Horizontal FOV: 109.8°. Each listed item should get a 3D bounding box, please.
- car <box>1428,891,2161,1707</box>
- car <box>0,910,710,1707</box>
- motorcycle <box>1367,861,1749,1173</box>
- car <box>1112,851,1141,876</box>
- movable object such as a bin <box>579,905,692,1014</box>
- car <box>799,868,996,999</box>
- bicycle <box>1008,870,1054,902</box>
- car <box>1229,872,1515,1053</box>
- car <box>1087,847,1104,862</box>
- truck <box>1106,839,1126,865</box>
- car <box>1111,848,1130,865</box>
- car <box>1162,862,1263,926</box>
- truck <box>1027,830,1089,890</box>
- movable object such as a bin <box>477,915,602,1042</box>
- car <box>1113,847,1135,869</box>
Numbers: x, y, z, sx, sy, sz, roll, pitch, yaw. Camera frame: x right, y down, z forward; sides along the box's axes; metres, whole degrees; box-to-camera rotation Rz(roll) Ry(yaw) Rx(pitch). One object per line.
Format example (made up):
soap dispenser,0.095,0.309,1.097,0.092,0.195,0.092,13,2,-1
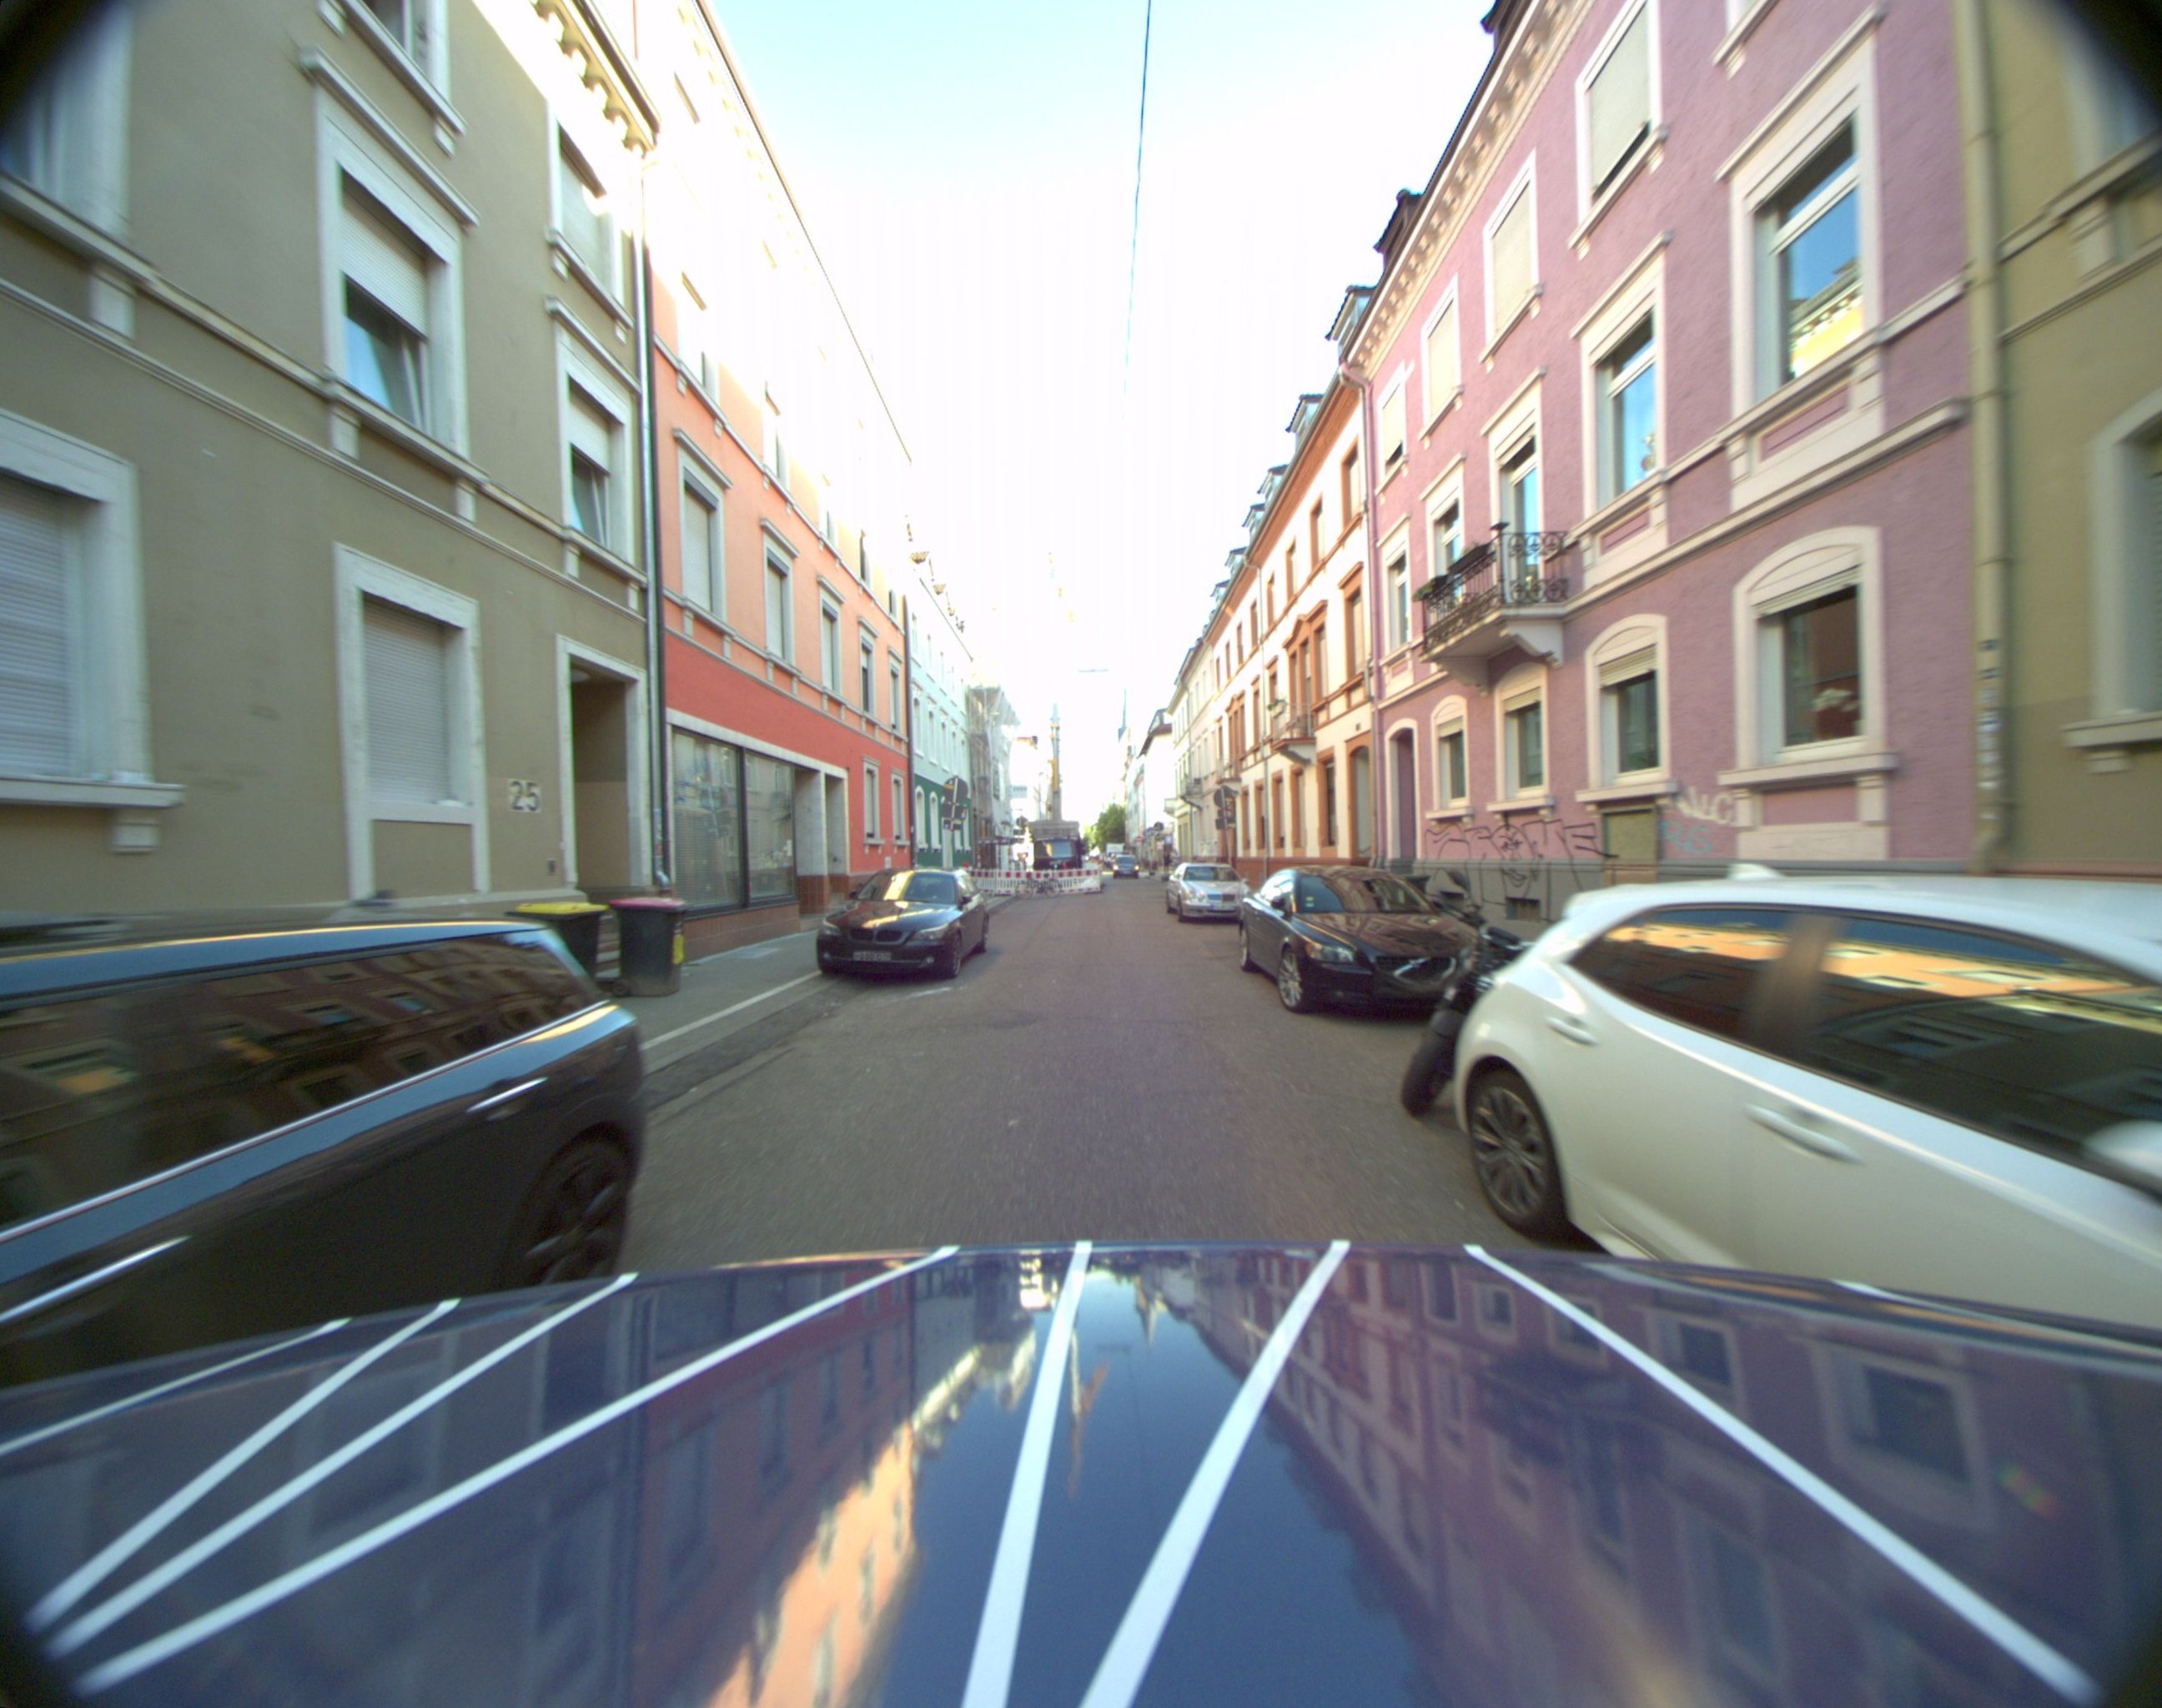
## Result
car,2.543,0.913,1.501,1.792,1.454,4.200,-1,0,0
car,-2.583,1.046,1.164,1.766,1.513,4.380,-2,0,1
motorcycle,2.839,0.833,4.545,1.969,1.470,0.822,-3,1,-19
car,3.156,0.630,53.280,1.832,1.650,4.213,-1,0,1
movable object such as a bin,-4.884,1.135,8.380,0.893,1.102,0.641,1,0,-9
car,-2.484,1.013,11.508,1.831,1.474,4.464,-1,0,1
bicycle,-1.992,1.256,30.058,1.712,1.130,0.470,-3,1,-10
car,2.827,0.950,8.469,1.730,1.383,4.303,0,0,3
car,1.761,0.030,96.224,1.998,1.749,4.255,-3,0,0
truck,4.730,-0.302,102.541,2.524,3.271,6.643,-1,0,2
car,4.570,0.311,88.980,1.998,1.820,4.379,-3,0,0
car,3.115,0.898,18.840,1.771,1.335,4.380,0,0,0
truck,-1.069,0.298,40.431,2.819,2.735,7.678,-3,0,1
movable object such as a bin,-5.120,1.159,7.222,0.717,1.102,0.642,0,0,1
car,4.186,0.396,73.904,1.998,2.002,4.258,-1,0,2
